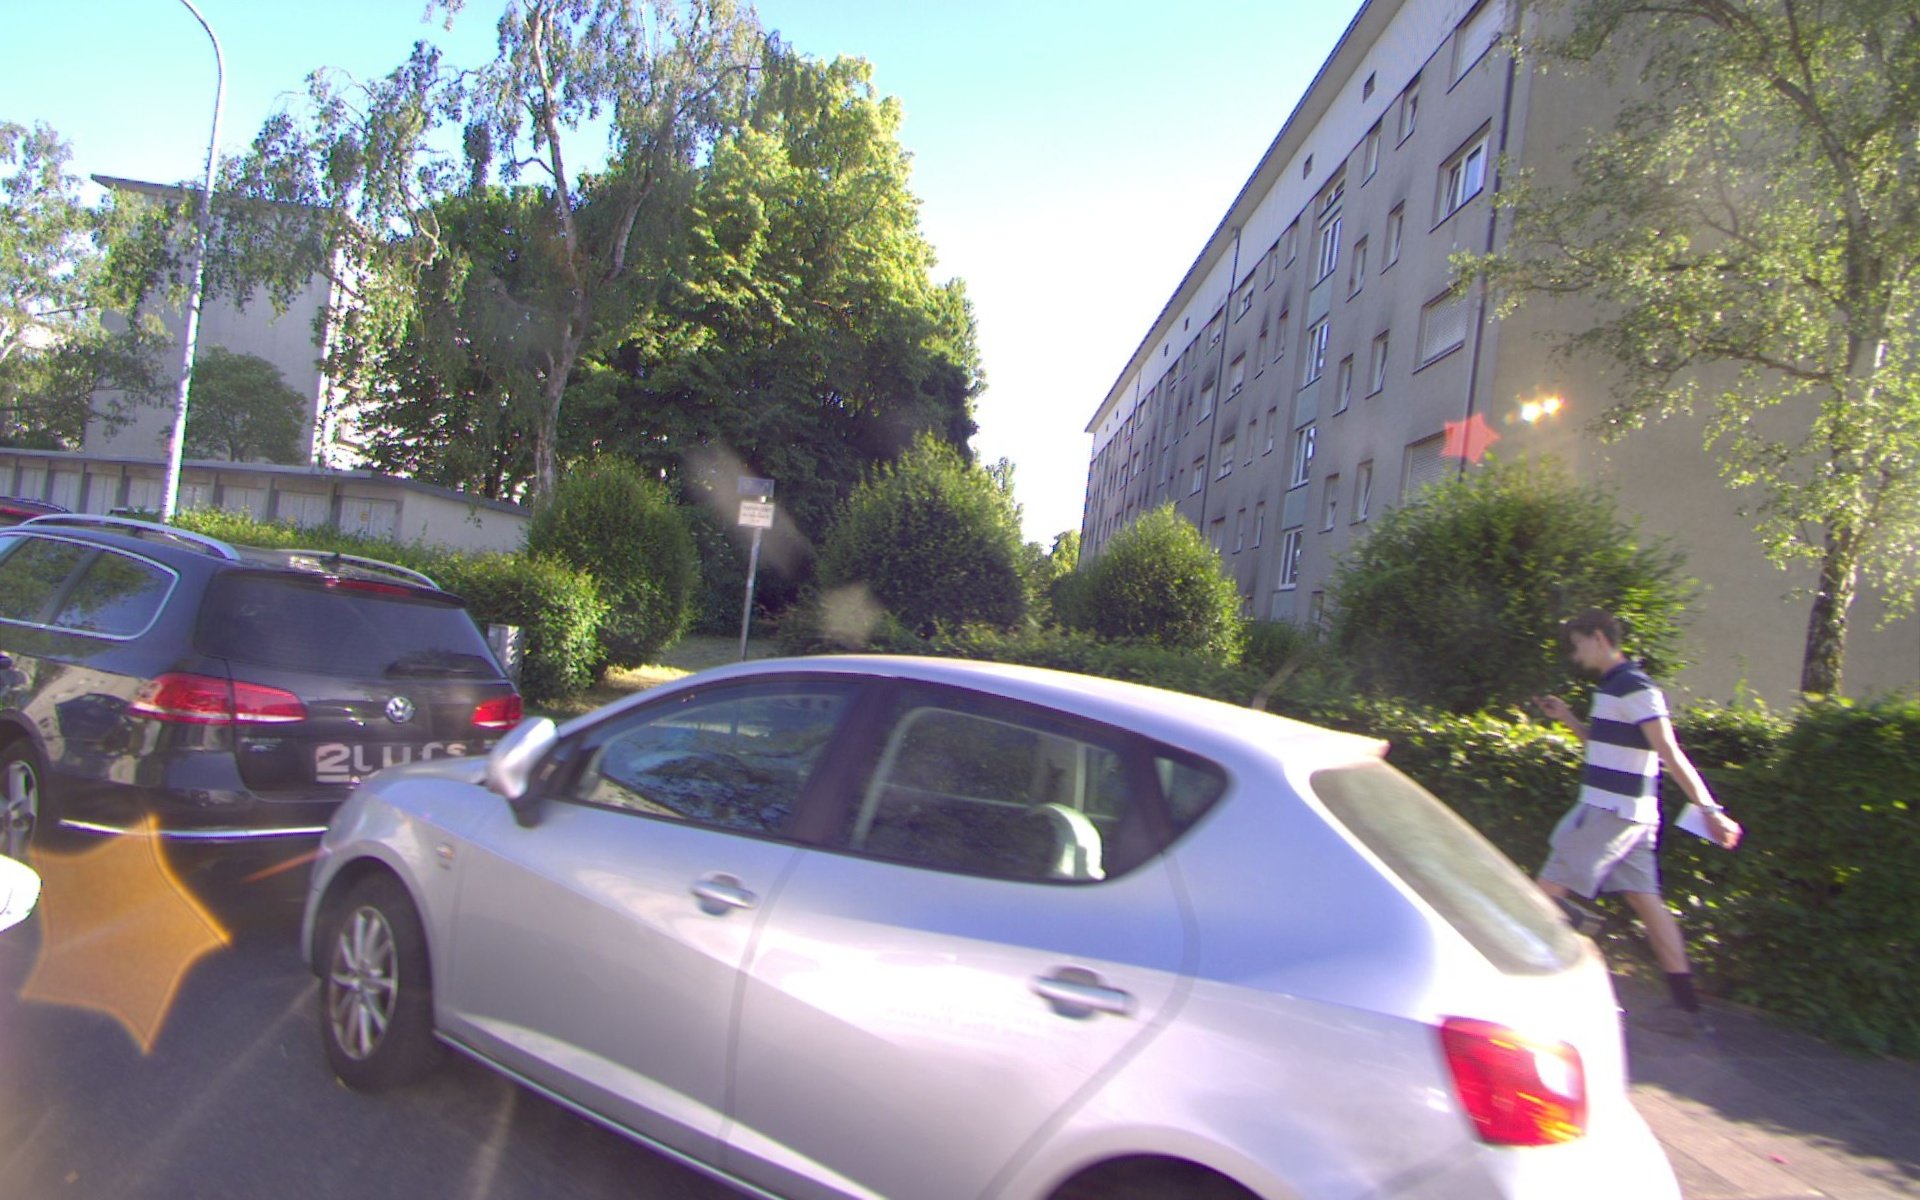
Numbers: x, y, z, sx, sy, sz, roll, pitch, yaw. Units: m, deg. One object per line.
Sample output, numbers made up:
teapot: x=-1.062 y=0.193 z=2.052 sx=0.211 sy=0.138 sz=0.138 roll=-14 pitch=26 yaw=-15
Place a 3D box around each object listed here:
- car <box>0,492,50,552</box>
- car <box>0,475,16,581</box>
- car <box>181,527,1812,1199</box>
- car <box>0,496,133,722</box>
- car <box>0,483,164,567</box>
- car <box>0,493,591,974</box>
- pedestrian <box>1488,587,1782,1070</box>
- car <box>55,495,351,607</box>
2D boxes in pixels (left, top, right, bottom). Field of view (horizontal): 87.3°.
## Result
car: x=-28.046 y=-2.391 z=27.421 sx=1.798 sy=1.532 sz=4.420 roll=7 pitch=0 yaw=32
car: x=-9.886 y=-0.429 z=8.864 sx=2.540 sy=1.738 sz=1.492 roll=7 pitch=-2 yaw=31
car: x=-0.331 y=0.800 z=2.960 sx=3.968 sy=1.506 sz=1.627 roll=7 pitch=-2 yaw=31
car: x=-7.680 y=-0.061 z=7.626 sx=2.517 sy=1.540 sz=1.417 roll=7 pitch=-2 yaw=35
car: x=-21.324 y=-1.824 z=22.971 sx=1.799 sy=1.532 sz=4.518 roll=7 pitch=0 yaw=32
car: x=-4.201 y=0.342 z=5.128 sx=4.424 sy=1.506 sz=1.737 roll=7 pitch=-3 yaw=29
pedestrian: x=3.051 y=0.953 z=4.626 sx=0.858 sy=1.913 sz=0.703 roll=7 pitch=2 yaw=32
car: x=-13.985 y=-0.837 z=18.834 sx=1.797 sy=1.532 sz=3.950 roll=7 pitch=0 yaw=28
